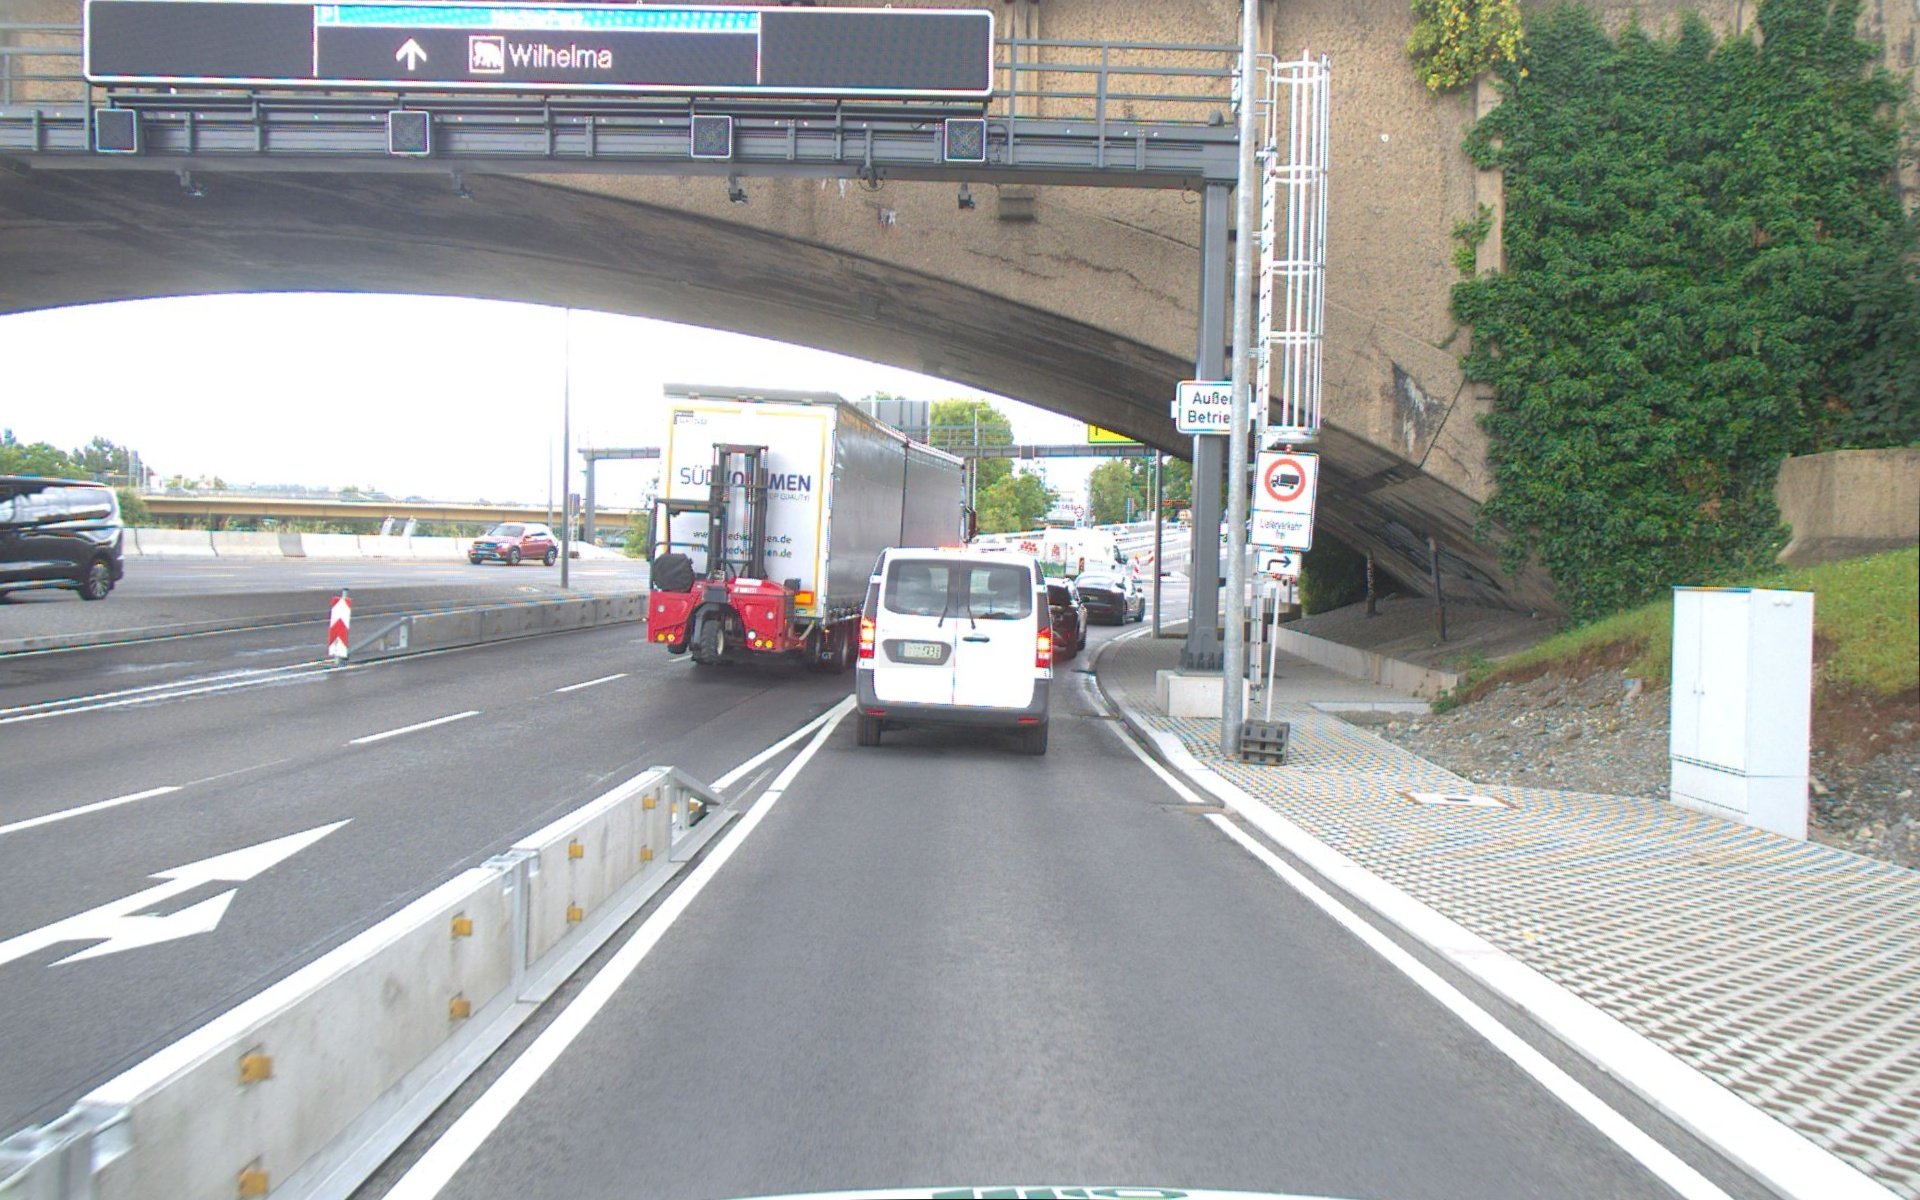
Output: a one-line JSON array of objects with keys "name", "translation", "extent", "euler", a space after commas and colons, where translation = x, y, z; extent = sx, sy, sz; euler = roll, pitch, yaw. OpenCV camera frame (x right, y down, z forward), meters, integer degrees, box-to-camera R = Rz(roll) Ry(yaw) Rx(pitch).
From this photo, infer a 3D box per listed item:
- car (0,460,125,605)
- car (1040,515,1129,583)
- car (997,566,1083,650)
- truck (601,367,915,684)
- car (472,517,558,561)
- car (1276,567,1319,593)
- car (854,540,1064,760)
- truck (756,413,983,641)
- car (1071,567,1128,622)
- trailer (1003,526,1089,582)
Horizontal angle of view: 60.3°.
[{"name": "car", "translation": [-15.604, -1.096, 26.206], "extent": [1.922, 2.047, 5.194], "euler": [5, 5, 2]}, {"name": "car", "translation": [5.165, -2.068, 68.095], "extent": [1.954, 2.585, 5.173], "euler": [4, 3, 23]}, {"name": "car", "translation": [1.786, 0.125, 35.886], "extent": [1.712, 1.653, 3.847], "euler": [1, 2, 4]}, {"name": "truck", "translation": [-2.826, -1.186, 26.906], "extent": [2.856, 4.086, 10.209], "euler": [2, 2, 5]}, {"name": "car", "translation": [-17.702, -2.435, 65.971], "extent": [1.662, 1.644, 4.001], "euler": [3, 3, 11]}, {"name": "car", "translation": [19.513, -1.166, 95.665], "extent": [1.347, 1.400, 3.454], "euler": [2, 2, 31]}, {"name": "car", "translation": [0.034, 0.428, 17.190], "extent": [1.837, 1.924, 4.754], "euler": [2, 0, 1]}, {"name": "truck", "translation": [-1.665, -1.610, 37.073], "extent": [2.924, 4.248, 11.252], "euler": [2, 2, 7]}, {"name": "car", "translation": [4.156, -0.186, 48.962], "extent": [1.469, 1.494, 3.402], "euler": [2, 2, 8]}, {"name": "trailer", "translation": [3.347, -1.775, 63.861], "extent": [1.954, 1.991, 4.078], "euler": [4, 3, 23]}]
